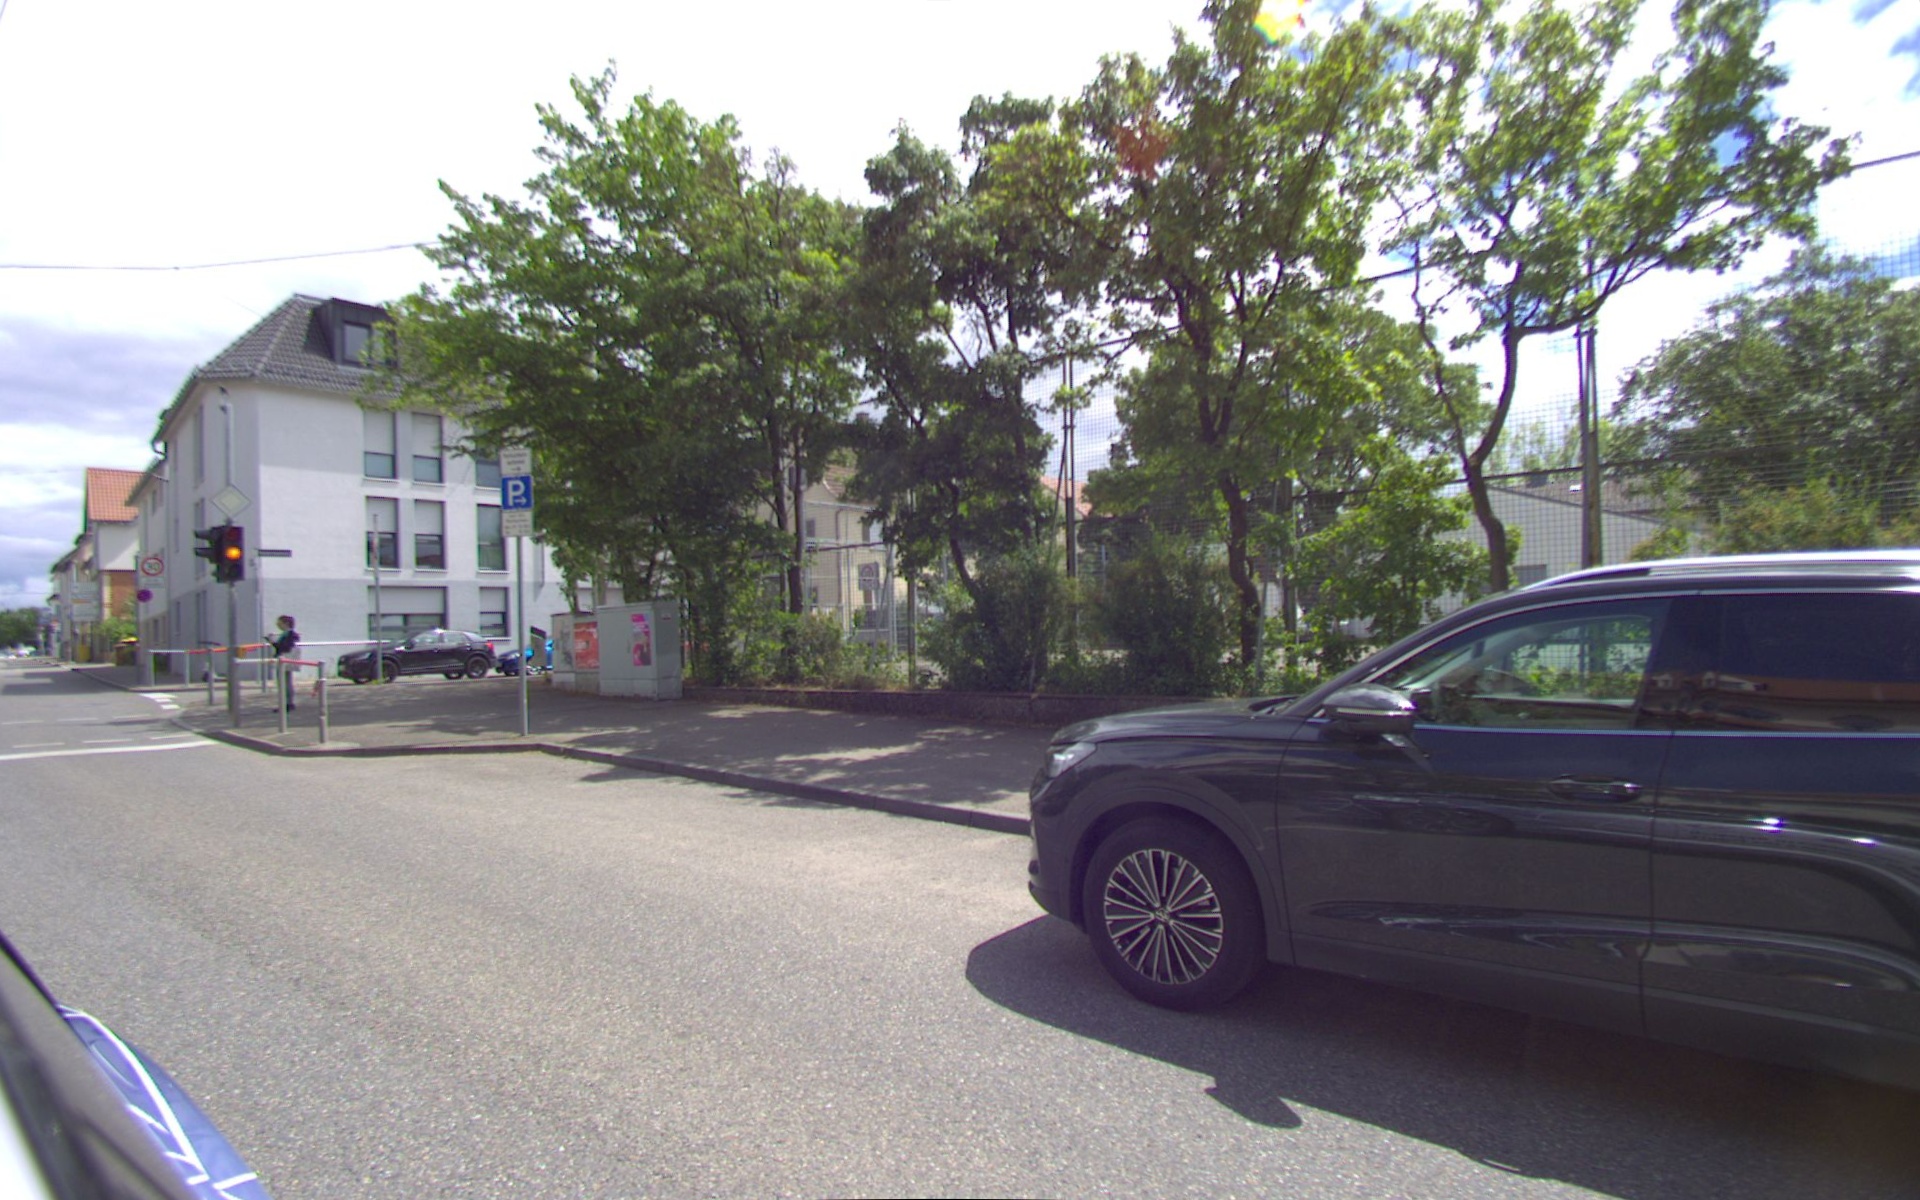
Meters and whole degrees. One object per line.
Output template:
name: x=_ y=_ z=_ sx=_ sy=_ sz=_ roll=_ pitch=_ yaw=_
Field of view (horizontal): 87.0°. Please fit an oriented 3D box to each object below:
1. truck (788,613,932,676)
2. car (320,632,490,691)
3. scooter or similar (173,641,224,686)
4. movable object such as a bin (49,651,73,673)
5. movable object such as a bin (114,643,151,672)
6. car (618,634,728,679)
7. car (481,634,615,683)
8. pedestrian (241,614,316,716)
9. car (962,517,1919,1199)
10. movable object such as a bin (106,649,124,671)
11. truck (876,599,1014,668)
truck: x=-3.421 y=1.510 z=35.561 sx=2.143 sy=2.050 sz=4.984 roll=-2 pitch=-2 yaw=40
car: x=-16.118 y=1.774 z=29.531 sx=1.857 sy=1.488 sz=3.946 roll=-5 pitch=-4 yaw=40
scooter or similar: x=-21.836 y=1.810 z=29.024 sx=1.295 sy=1.271 sz=0.488 roll=-1 pitch=-2 yaw=16
movable object such as a bin: x=-55.747 y=3.837 z=62.747 sx=0.801 sy=1.168 sz=0.759 roll=4 pitch=15 yaw=34
movable object such as a bin: x=-42.935 y=2.959 z=52.502 sx=1.170 sy=1.457 sz=1.320 roll=-3 pitch=-2 yaw=41
car: x=-10.358 y=2.025 z=36.630 sx=1.549 sy=1.484 sz=3.565 roll=-7 pitch=-5 yaw=38
car: x=-13.387 y=1.893 z=33.004 sx=1.601 sy=1.411 sz=3.742 roll=-6 pitch=-5 yaw=42
pedestrian: x=-11.089 y=1.038 z=16.493 sx=0.663 sy=1.609 sz=0.772 roll=-2 pitch=-1 yaw=5
car: x=2.384 y=0.643 z=3.409 sx=4.639 sy=1.622 sz=1.778 roll=-3 pitch=-2 yaw=38
movable object such as a bin: x=-42.460 y=3.017 z=50.859 sx=0.660 sy=1.083 sz=0.633 roll=-3 pitch=-2 yaw=42
truck: x=-0.567 y=1.612 z=48.586 sx=2.501 sy=2.949 sz=7.274 roll=-7 pitch=-6 yaw=37
